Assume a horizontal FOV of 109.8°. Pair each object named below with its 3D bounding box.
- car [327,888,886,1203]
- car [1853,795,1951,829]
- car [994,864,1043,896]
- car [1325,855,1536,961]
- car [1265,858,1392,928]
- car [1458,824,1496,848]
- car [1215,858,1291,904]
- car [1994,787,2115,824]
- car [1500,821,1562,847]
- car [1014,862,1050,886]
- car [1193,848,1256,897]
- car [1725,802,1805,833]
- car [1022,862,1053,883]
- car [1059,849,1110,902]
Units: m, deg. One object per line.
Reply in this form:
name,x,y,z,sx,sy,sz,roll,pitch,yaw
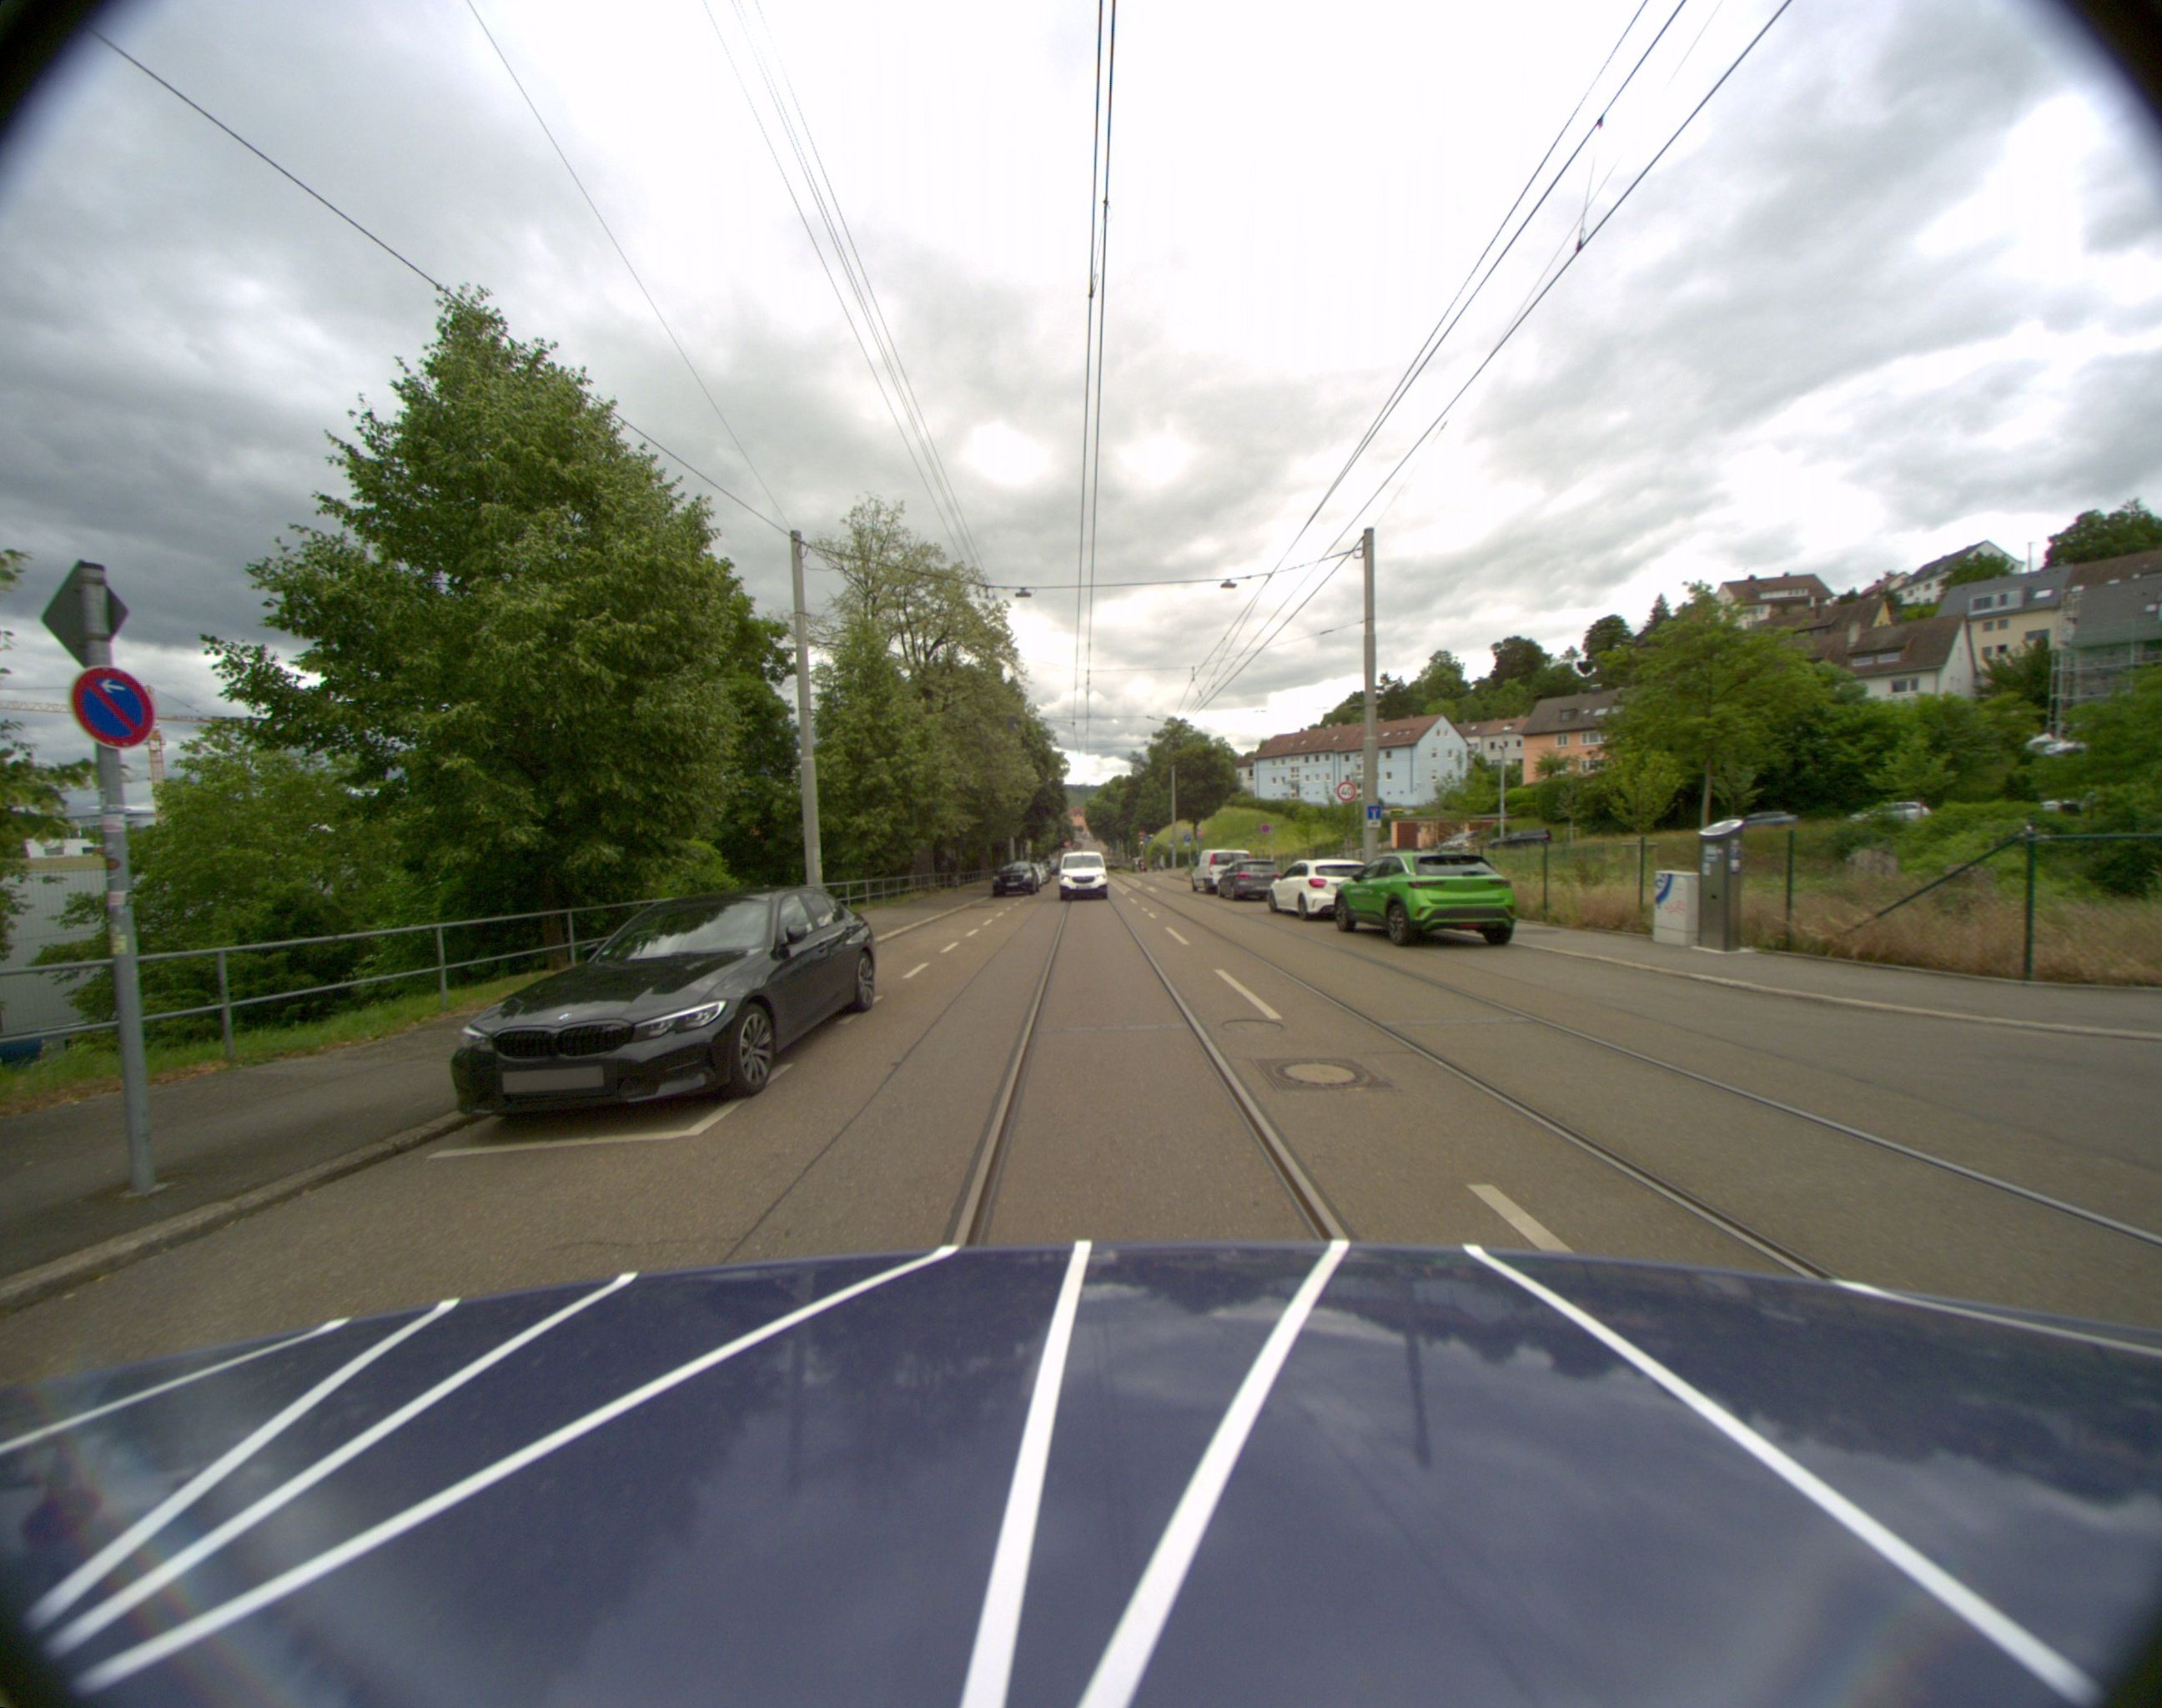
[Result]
car,-3.242,1.186,6.483,1.863,1.434,4.388,-4,0,1
car,52.052,-2.636,48.283,3.989,1.893,2.004,-1,1,39
car,-2.967,1.215,36.566,1.822,1.344,3.940,-3,0,2
car,5.825,0.812,13.272,1.856,1.532,3.948,-2,0,0
car,5.947,0.878,18.787,1.856,1.485,3.948,1,0,0
car,33.565,-1.539,64.389,1.994,1.893,4.008,-1,0,40
car,6.110,0.919,27.376,1.856,1.485,3.948,1,0,0
car,57.009,-2.786,44.617,3.989,1.893,2.004,-1,1,39
car,35.966,-1.591,60.727,3.989,1.893,2.004,-1,1,39
car,-3.091,1.261,48.760,1.822,1.344,3.940,-3,0,2
car,6.067,0.724,32.689,1.901,1.935,4.290,1,0,0
car,46.866,-2.480,52.159,3.989,1.893,2.004,-1,1,39
car,-3.037,1.286,53.803,1.822,1.344,3.940,-3,0,2
car,0.201,0.767,29.550,1.759,1.824,4.448,-2,0,2
